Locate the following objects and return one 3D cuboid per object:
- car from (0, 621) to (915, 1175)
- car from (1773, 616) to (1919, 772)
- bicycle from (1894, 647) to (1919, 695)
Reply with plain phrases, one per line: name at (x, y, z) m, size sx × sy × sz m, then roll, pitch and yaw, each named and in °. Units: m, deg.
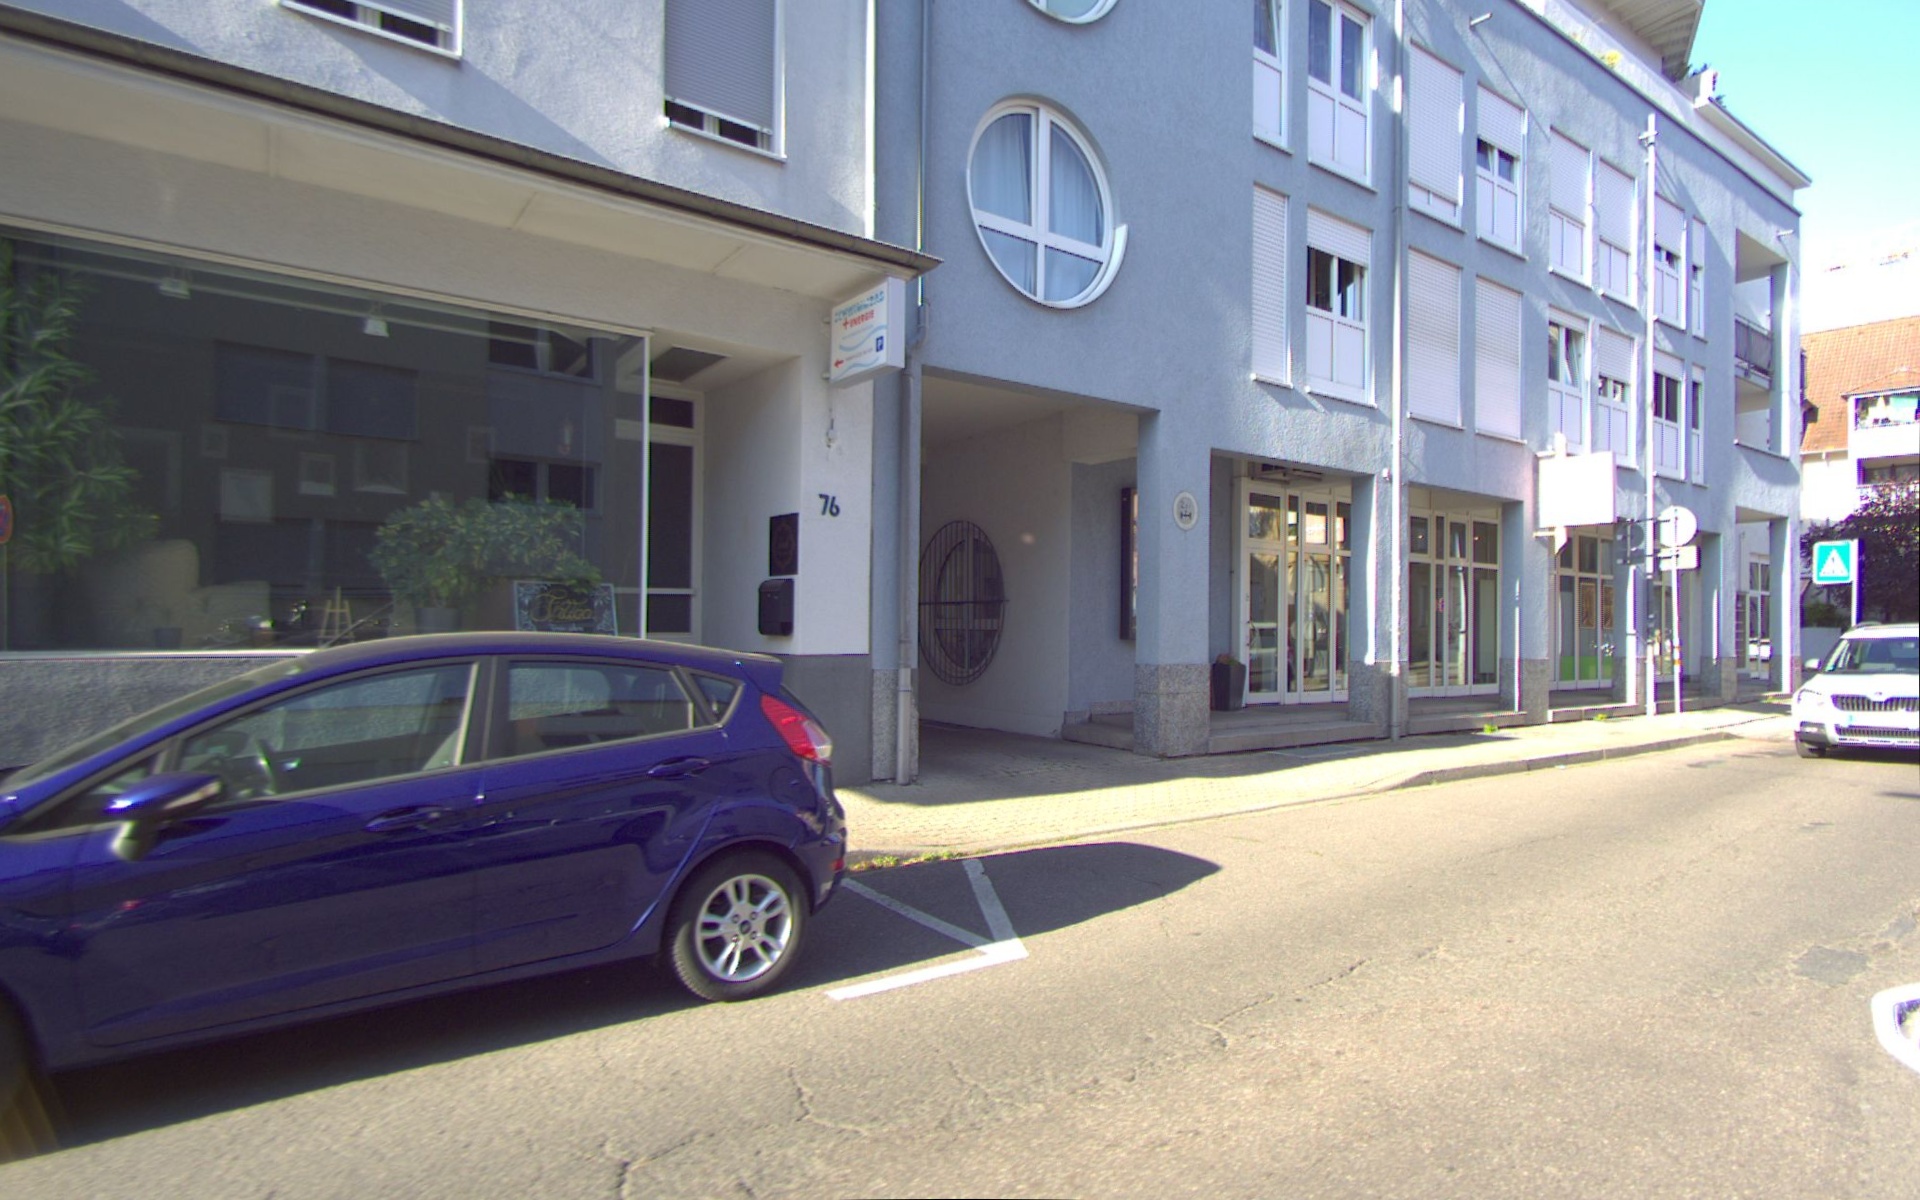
car at (-2.289, 0.861, 4.054) m, size 3.918 × 1.519 × 1.720 m, roll 1°, pitch -2°, yaw -34°
car at (12.032, 1.101, 12.740) m, size 4.155 × 1.724 × 1.793 m, roll 2°, pitch -3°, yaw -38°
bicycle at (24.527, 1.787, 24.991) m, size 0.592 × 1.200 × 1.776 m, roll 1°, pitch -2°, yaw -33°
